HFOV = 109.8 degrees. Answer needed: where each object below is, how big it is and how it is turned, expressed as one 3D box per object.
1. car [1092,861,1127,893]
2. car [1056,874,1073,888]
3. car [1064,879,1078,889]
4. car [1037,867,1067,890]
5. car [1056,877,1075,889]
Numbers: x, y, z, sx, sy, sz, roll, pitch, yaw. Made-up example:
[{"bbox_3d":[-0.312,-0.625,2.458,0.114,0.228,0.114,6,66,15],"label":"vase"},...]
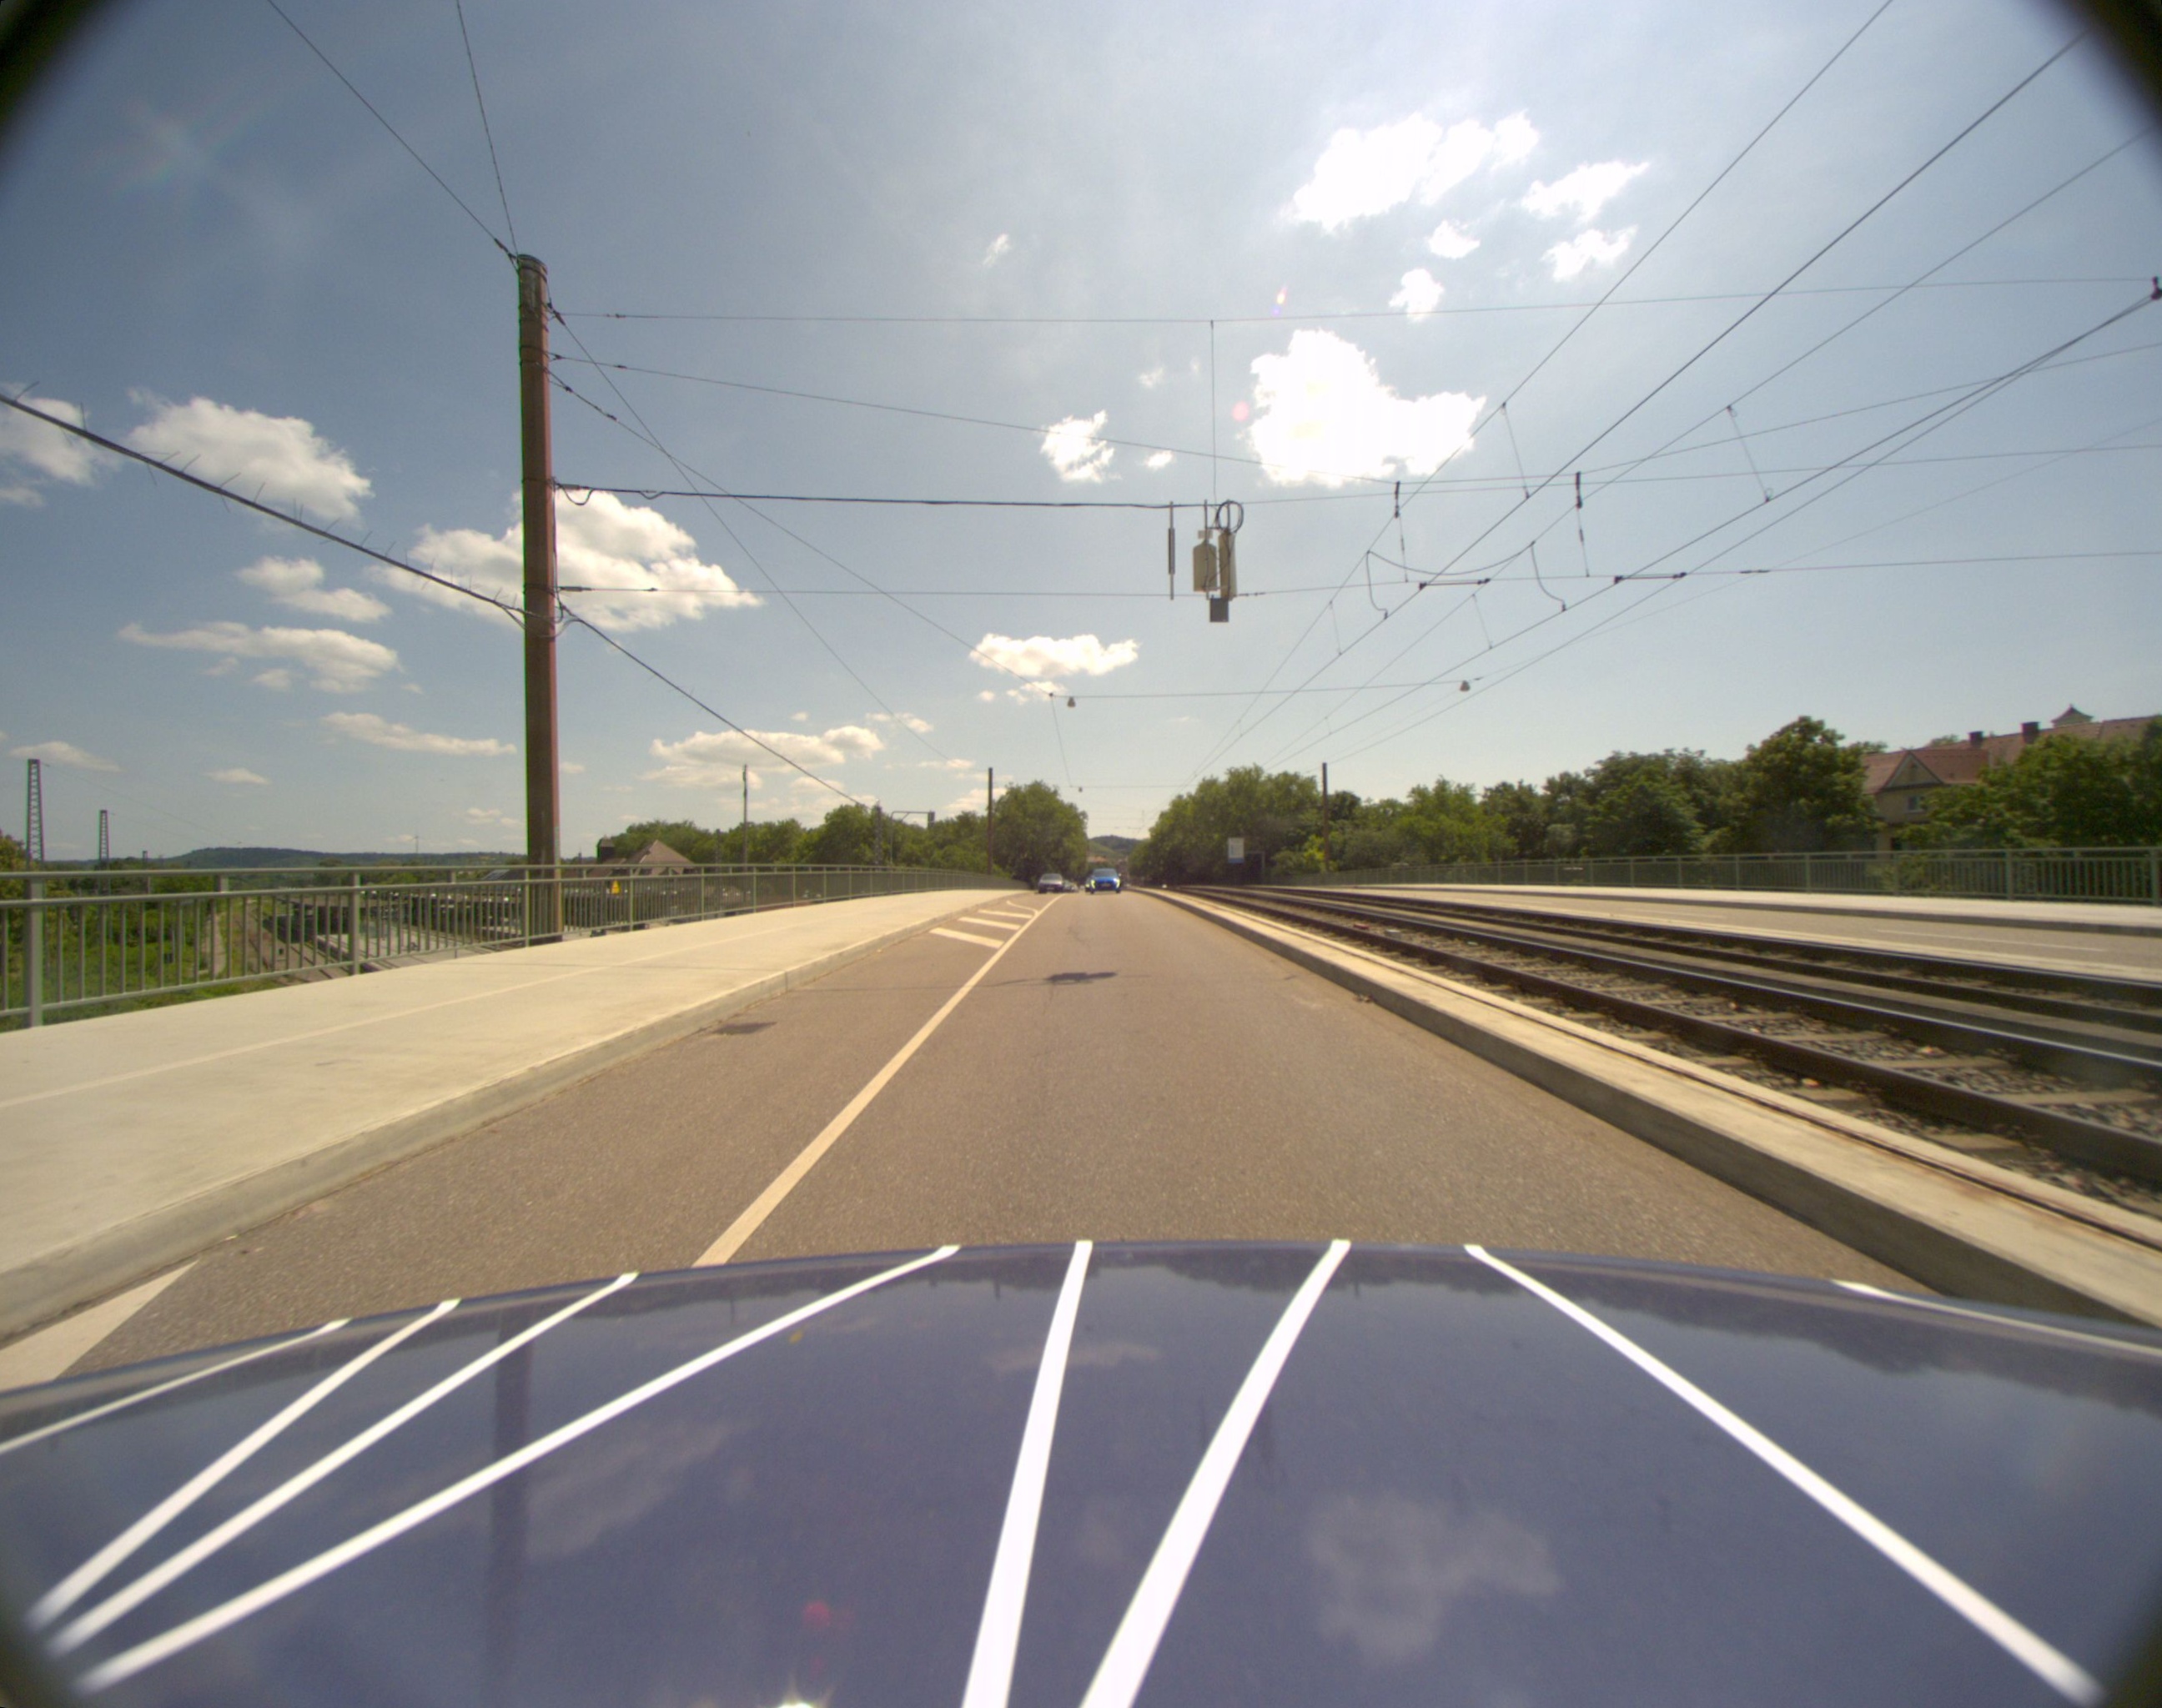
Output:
[{"bbox_3d":[1.591,1.326,43.479,1.865,1.630,4.001,-2,-2,1],"label":"car"},{"bbox_3d":[-1.700,2.781,77.649,1.689,1.350,4.594,-2,-3,-1],"label":"car"},{"bbox_3d":[-1.335,3.970,100.288,1.759,1.381,3.701,-1,-3,1],"label":"car"},{"bbox_3d":[-2.080,1.818,55.010,1.999,1.542,4.723,-2,-3,-1],"label":"car"},{"bbox_3d":[-1.875,3.643,94.817,1.998,1.431,4.002,-2,-2,3],"label":"car"}]
